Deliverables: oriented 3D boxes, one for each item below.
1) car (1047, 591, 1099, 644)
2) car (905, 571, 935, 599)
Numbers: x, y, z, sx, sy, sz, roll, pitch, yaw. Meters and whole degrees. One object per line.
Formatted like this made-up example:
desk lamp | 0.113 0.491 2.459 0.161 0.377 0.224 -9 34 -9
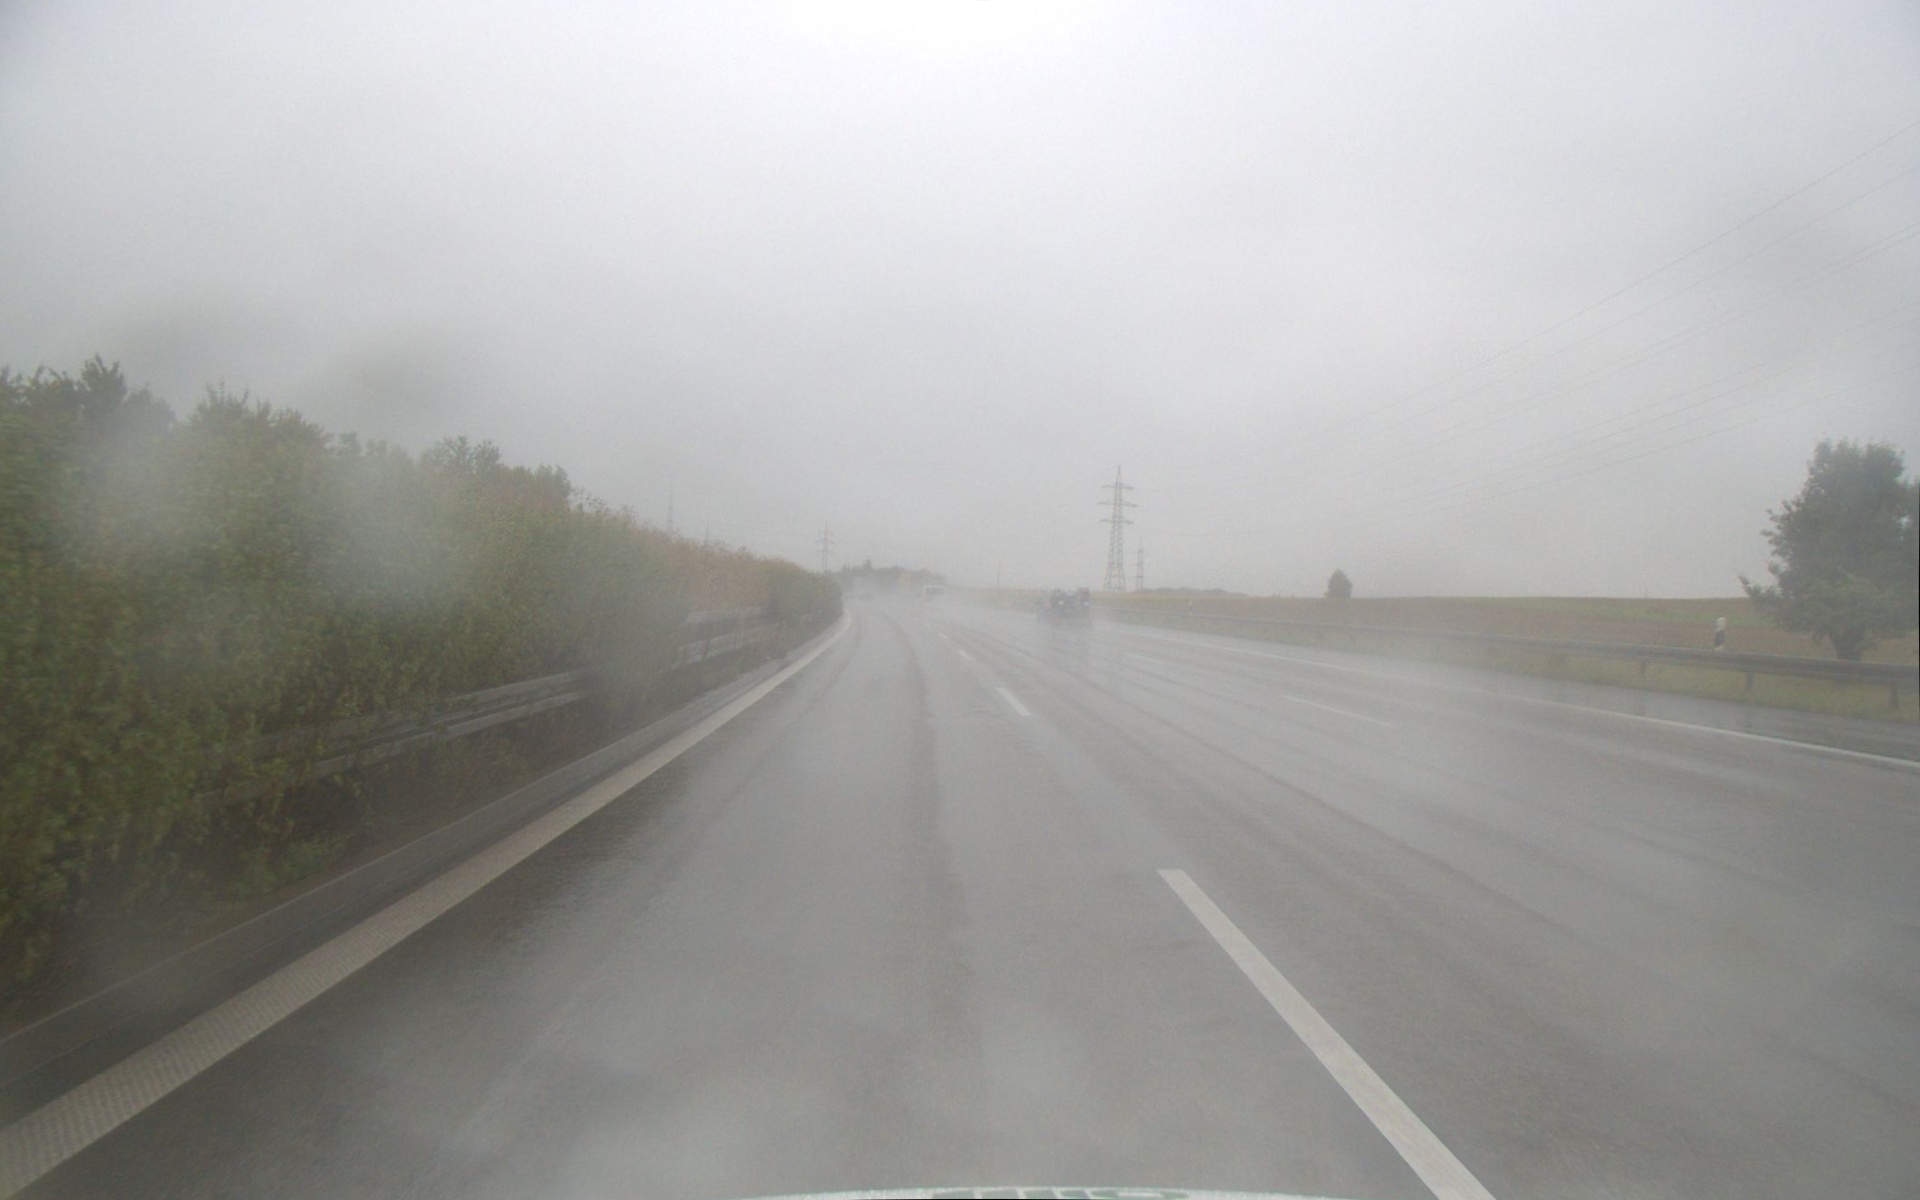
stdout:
car | 4.855 0.725 71.703 1.771 2.196 3.998 1 0 -3
car | -4.783 -1.785 197.272 3.137 3.248 7.250 1 0 -4
